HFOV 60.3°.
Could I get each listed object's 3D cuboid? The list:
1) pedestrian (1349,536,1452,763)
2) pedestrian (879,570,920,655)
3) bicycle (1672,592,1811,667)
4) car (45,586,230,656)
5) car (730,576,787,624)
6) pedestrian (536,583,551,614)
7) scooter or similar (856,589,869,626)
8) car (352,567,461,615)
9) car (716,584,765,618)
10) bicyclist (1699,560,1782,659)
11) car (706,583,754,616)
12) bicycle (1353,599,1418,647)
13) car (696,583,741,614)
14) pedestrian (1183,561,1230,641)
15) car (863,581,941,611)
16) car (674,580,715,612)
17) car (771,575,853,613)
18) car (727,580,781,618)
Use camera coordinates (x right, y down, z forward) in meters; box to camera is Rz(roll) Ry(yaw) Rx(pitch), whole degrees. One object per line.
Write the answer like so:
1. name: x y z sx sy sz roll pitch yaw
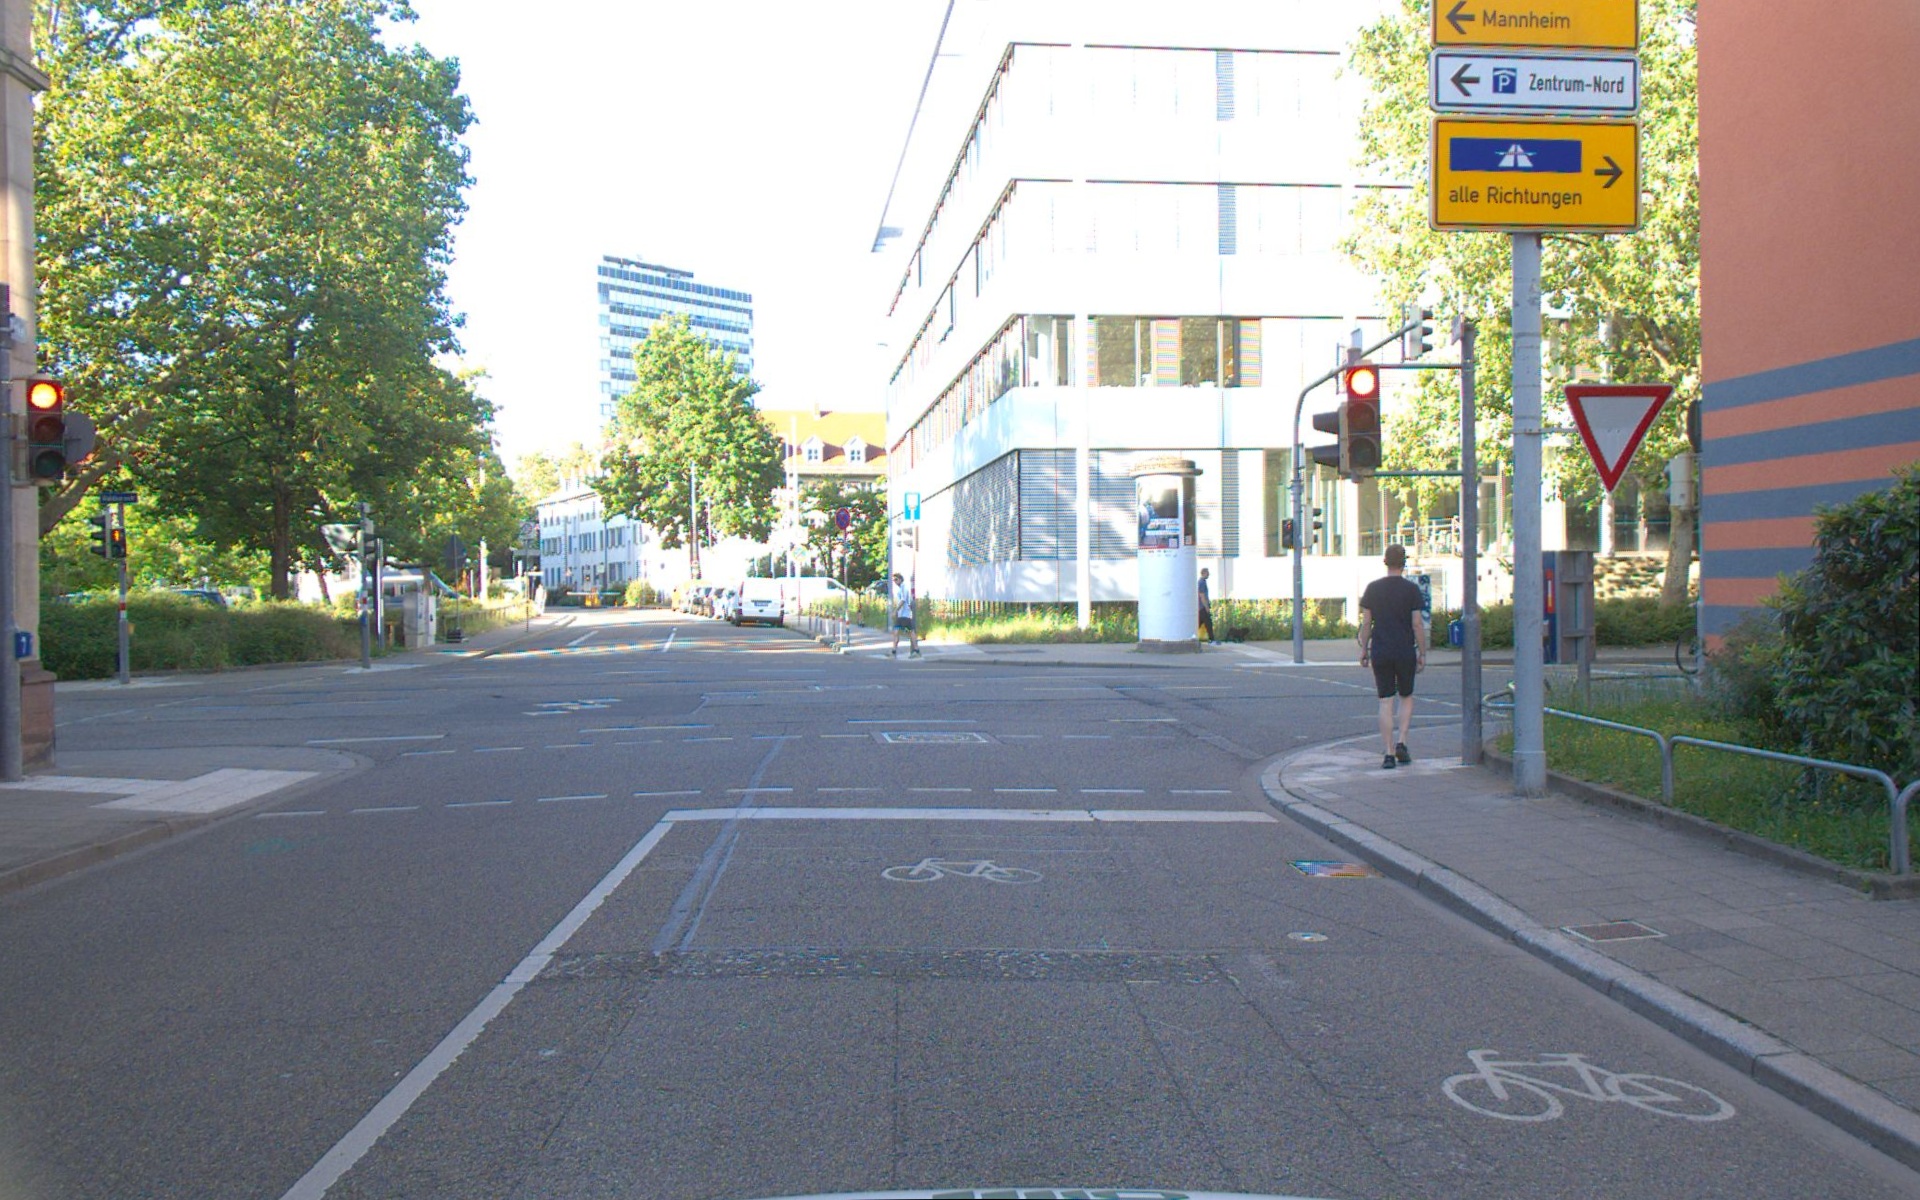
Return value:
1. pedestrian: 3.680 0.402 13.870 0.685 1.842 0.720 1 -1 3
2. pedestrian: -1.377 0.285 37.714 0.895 1.901 0.742 1 -1 -1
3. bicycle: 12.519 0.471 26.519 1.922 1.172 0.593 -1 0 5
4. car: -18.367 0.476 37.059 3.347 1.483 1.646 1 0 -11
5. car: -7.914 0.008 64.696 1.957 1.755 4.641 1 0 -10
6. pedestrian: -21.890 -0.075 86.877 0.688 1.614 0.634 1 -1 -16
7. scooter or similar: -3.426 0.261 58.229 0.429 1.278 1.418 -1 0 -5
8. car: -24.959 -0.401 74.677 4.363 2.049 1.995 1 0 -10
9. car: -10.191 0.051 76.646 1.958 1.525 4.639 1 0 -11
10. bicyclist: 12.507 0.150 26.526 1.052 1.554 0.593 -1 0 5
11. car: -11.303 -0.017 81.077 1.959 1.525 4.272 1 0 -13
12. bicycle: 9.323 0.507 36.274 0.376 1.026 1.410 -1 0 -42
13. car: -12.546 -0.060 85.783 1.959 1.525 4.637 1 0 -13
14. pedestrian: 5.806 0.033 38.932 0.897 1.847 0.761 1 -1 -9
15. car: -3.668 -0.242 104.716 4.563 1.755 1.991 1 0 -17
16. car: -15.378 -0.222 95.599 1.960 1.755 4.635 1 0 -14
17. car: -9.194 -0.359 102.791 4.718 2.196 1.990 1 0 -18
18. car: -8.866 -0.027 70.895 1.958 1.525 4.639 1 0 -11
